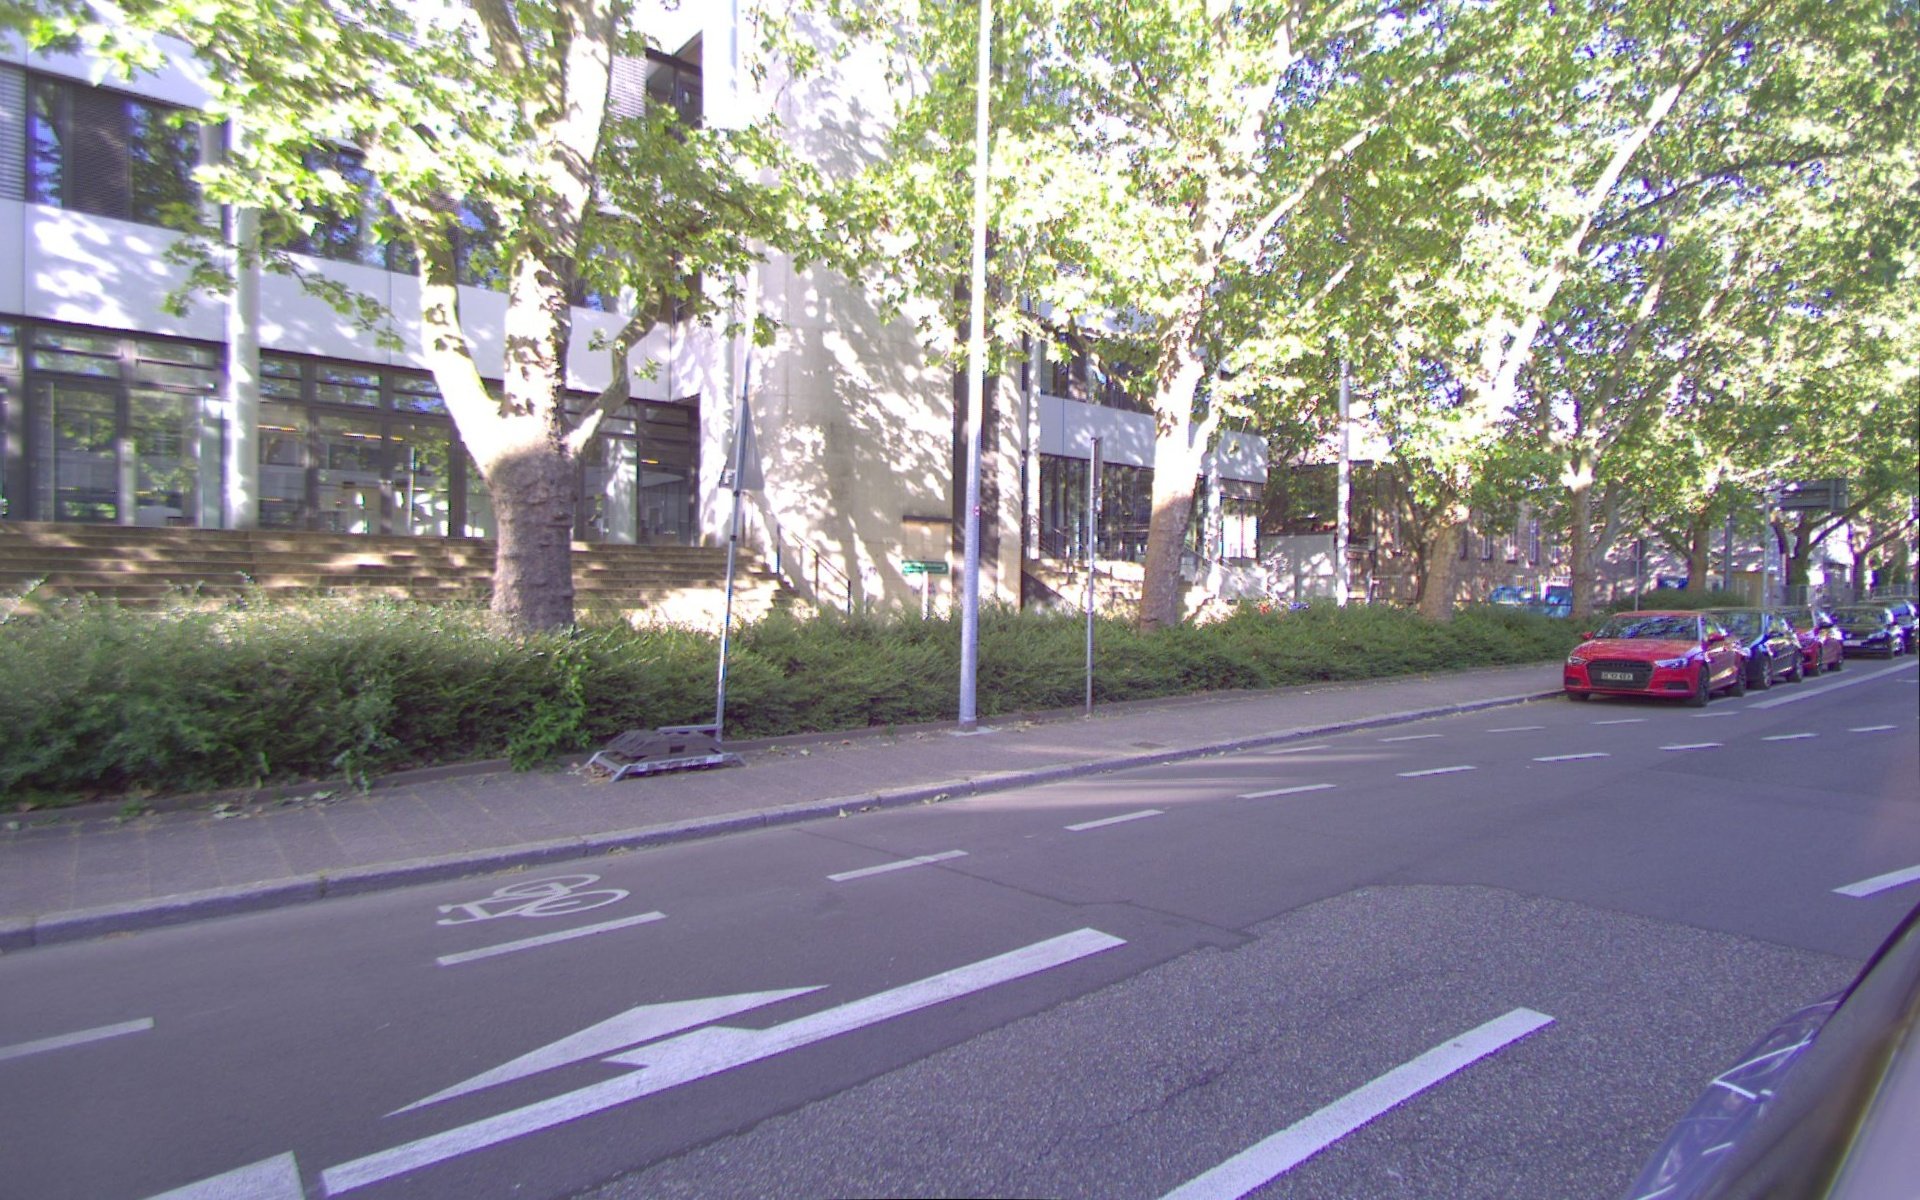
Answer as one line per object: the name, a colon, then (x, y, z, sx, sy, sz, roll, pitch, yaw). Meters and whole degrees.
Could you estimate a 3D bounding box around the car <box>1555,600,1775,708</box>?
car: (11.327, 0.744, 16.142, 4.403, 1.469, 1.865, 0, 0, -41)

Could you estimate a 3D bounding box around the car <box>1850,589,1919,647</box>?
car: (29.578, 0.520, 31.808, 4.403, 1.689, 1.865, 0, 0, -41)

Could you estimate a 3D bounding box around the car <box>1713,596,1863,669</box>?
car: (18.442, 0.643, 22.480, 4.403, 1.469, 1.865, 0, 0, -41)

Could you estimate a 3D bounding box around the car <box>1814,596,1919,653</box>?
car: (25.799, 0.628, 28.614, 4.403, 1.469, 1.865, 0, 0, -41)

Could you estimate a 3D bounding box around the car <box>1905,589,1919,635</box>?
car: (38.882, 0.451, 39.969, 4.403, 1.781, 1.865, 0, 0, -41)

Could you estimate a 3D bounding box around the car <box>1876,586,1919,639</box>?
car: (33.916, 0.402, 35.699, 4.403, 1.781, 1.865, 0, 0, -41)

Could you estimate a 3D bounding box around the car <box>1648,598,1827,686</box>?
car: (14.774, 0.698, 19.143, 4.403, 1.469, 1.865, 0, 0, -41)
